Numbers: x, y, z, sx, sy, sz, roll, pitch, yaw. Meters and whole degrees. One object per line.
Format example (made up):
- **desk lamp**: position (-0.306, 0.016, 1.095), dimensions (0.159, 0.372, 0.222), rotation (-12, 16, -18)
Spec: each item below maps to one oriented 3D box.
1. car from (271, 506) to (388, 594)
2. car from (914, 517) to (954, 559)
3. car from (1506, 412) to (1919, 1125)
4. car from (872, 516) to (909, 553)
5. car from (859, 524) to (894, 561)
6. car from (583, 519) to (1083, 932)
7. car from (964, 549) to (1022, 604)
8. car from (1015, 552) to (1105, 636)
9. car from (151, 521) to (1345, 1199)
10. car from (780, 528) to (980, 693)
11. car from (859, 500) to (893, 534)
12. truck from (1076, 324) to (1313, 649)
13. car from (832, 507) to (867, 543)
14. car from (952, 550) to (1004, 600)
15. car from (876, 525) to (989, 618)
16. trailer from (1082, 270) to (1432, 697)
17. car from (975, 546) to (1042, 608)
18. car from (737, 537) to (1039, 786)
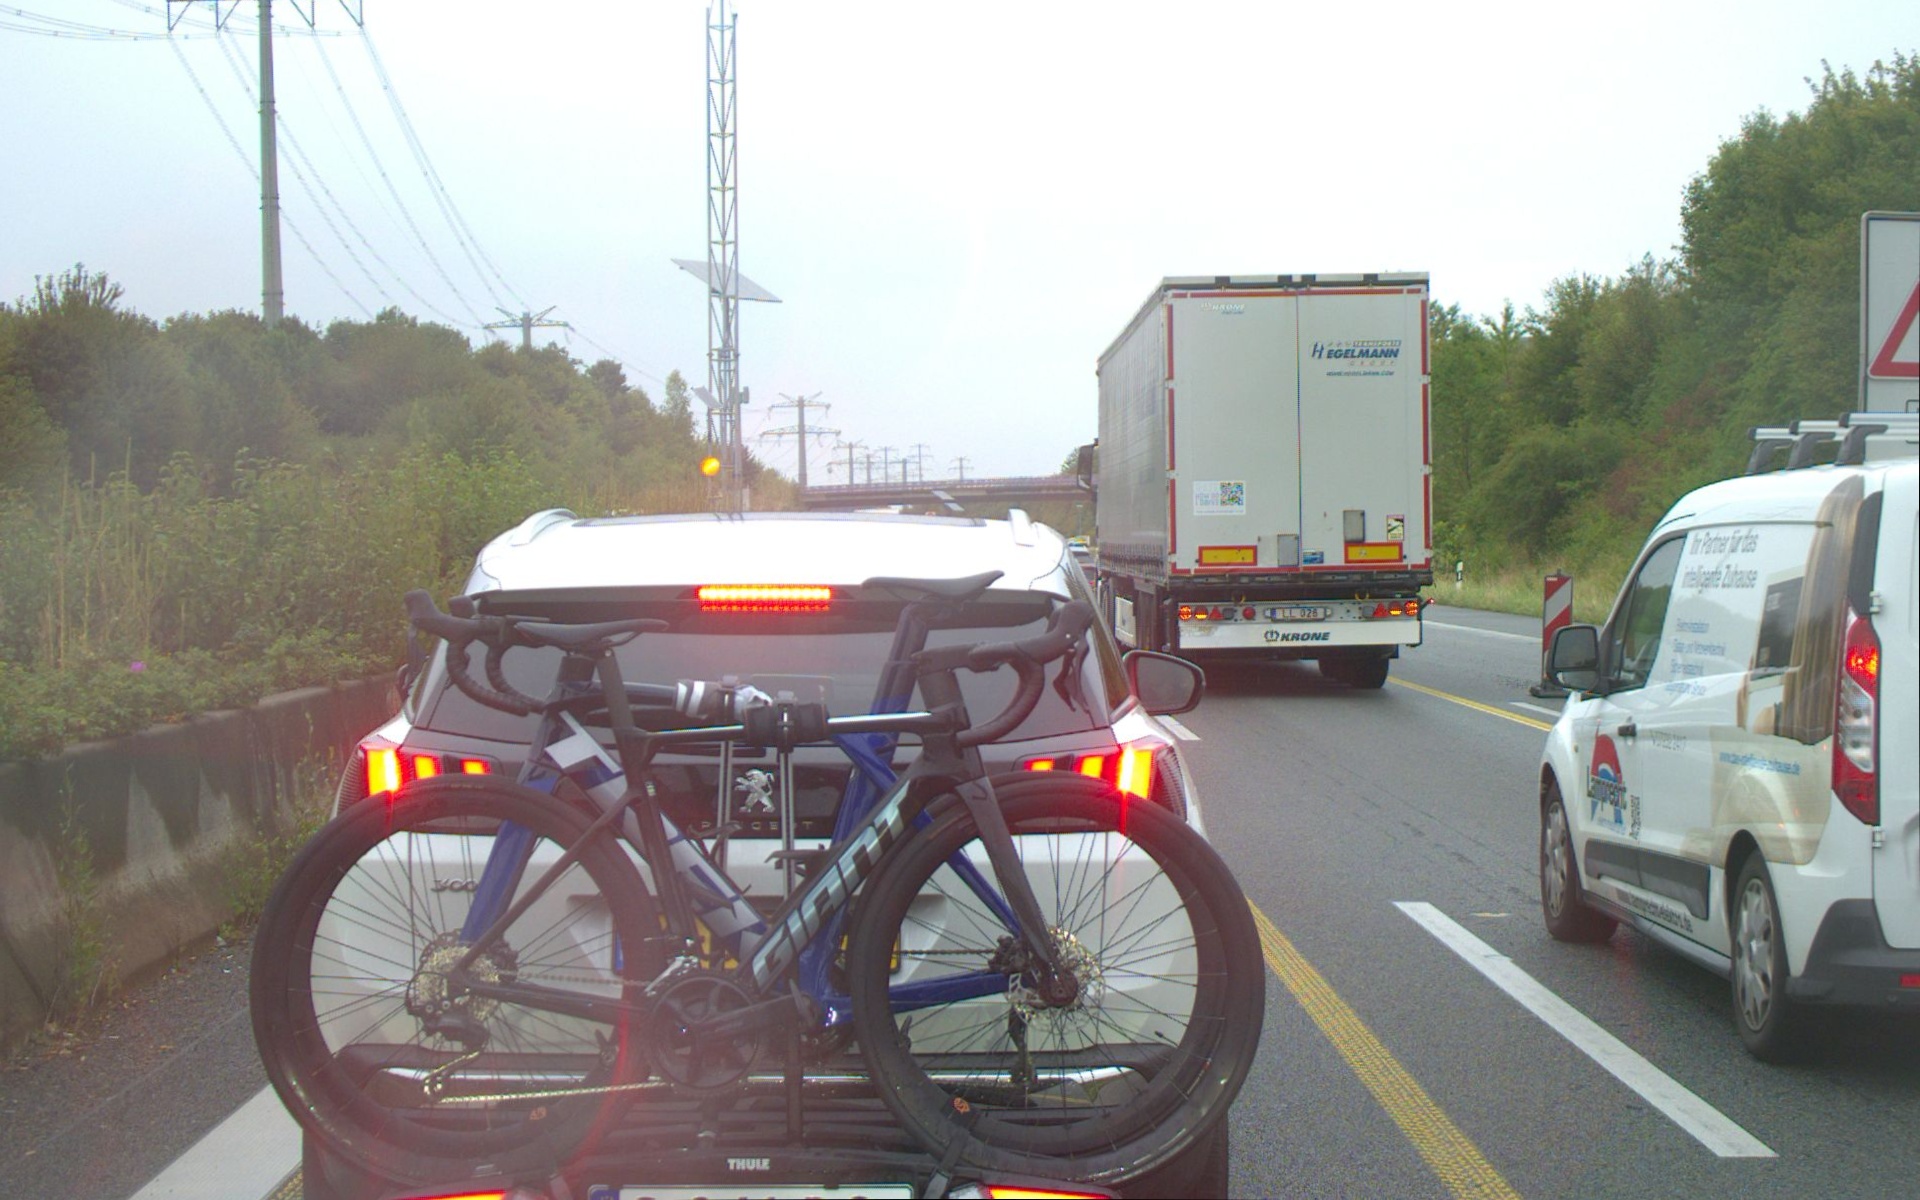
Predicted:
- **car**: position (-16.638, -1.335, 90.968), dimensions (2.180, 2.257, 5.204), rotation (0, 1, -1)
- **car**: position (-1.278, -3.019, 167.008), dimensions (1.931, 1.966, 4.001), rotation (0, 2, -1)
- **car**: position (3.086, 0.392, 11.171), dimensions (1.829, 1.833, 4.656), rotation (0, 1, -1)
- **car**: position (-3.775, -3.582, 187.143), dimensions (1.931, 1.904, 4.001), rotation (0, 2, -1)
- **car**: position (-4.713, -3.248, 194.079), dimensions (1.931, 1.966, 4.001), rotation (0, 2, -1)
- **car**: position (-0.492, 0.429, 14.724), dimensions (1.850, 1.525, 4.000), rotation (0, 1, -1)
- **car**: position (1.237, -0.917, 131.204), dimensions (2.148, 1.966, 4.001), rotation (0, 2, -1)
- **car**: position (2.520, -0.176, 87.384), dimensions (2.110, 1.966, 4.001), rotation (0, 2, -1)
- **car**: position (-0.355, 0.598, 7.724), dimensions (1.850, 1.525, 4.769), rotation (0, 1, -1)
- **car**: position (-0.767, 0.059, 33.936), dimensions (1.850, 1.525, 4.000), rotation (0, 1, -1)
- **car**: position (-4.877, -4.838, 199.852), dimensions (1.931, 1.966, 4.001), rotation (0, 2, -1)
- **truck**: position (3.041, -1.475, 46.288), dimensions (2.660, 4.062, 6.539), rotation (0, 1, -1)
- **car**: position (-7.498, -5.116, 233.773), dimensions (2.257, 2.416, 4.001), rotation (0, 2, -1)
- **car**: position (0.745, -1.064, 145.047), dimensions (2.148, 1.966, 4.001), rotation (0, 2, -1)
- **car**: position (-0.477, -0.500, 58.375), dimensions (1.850, 1.525, 4.000), rotation (0, 1, -1)
- **trailer**: position (3.068, -1.239, 39.553), dimensions (2.692, 4.062, 13.634), rotation (0, 1, -1)
- **car**: position (1.618, -0.808, 116.481), dimensions (2.148, 1.966, 4.001), rotation (0, 2, -1)
- **car**: position (-0.463, 0.341, 23.054), dimensions (1.850, 1.525, 4.000), rotation (0, 1, -1)
